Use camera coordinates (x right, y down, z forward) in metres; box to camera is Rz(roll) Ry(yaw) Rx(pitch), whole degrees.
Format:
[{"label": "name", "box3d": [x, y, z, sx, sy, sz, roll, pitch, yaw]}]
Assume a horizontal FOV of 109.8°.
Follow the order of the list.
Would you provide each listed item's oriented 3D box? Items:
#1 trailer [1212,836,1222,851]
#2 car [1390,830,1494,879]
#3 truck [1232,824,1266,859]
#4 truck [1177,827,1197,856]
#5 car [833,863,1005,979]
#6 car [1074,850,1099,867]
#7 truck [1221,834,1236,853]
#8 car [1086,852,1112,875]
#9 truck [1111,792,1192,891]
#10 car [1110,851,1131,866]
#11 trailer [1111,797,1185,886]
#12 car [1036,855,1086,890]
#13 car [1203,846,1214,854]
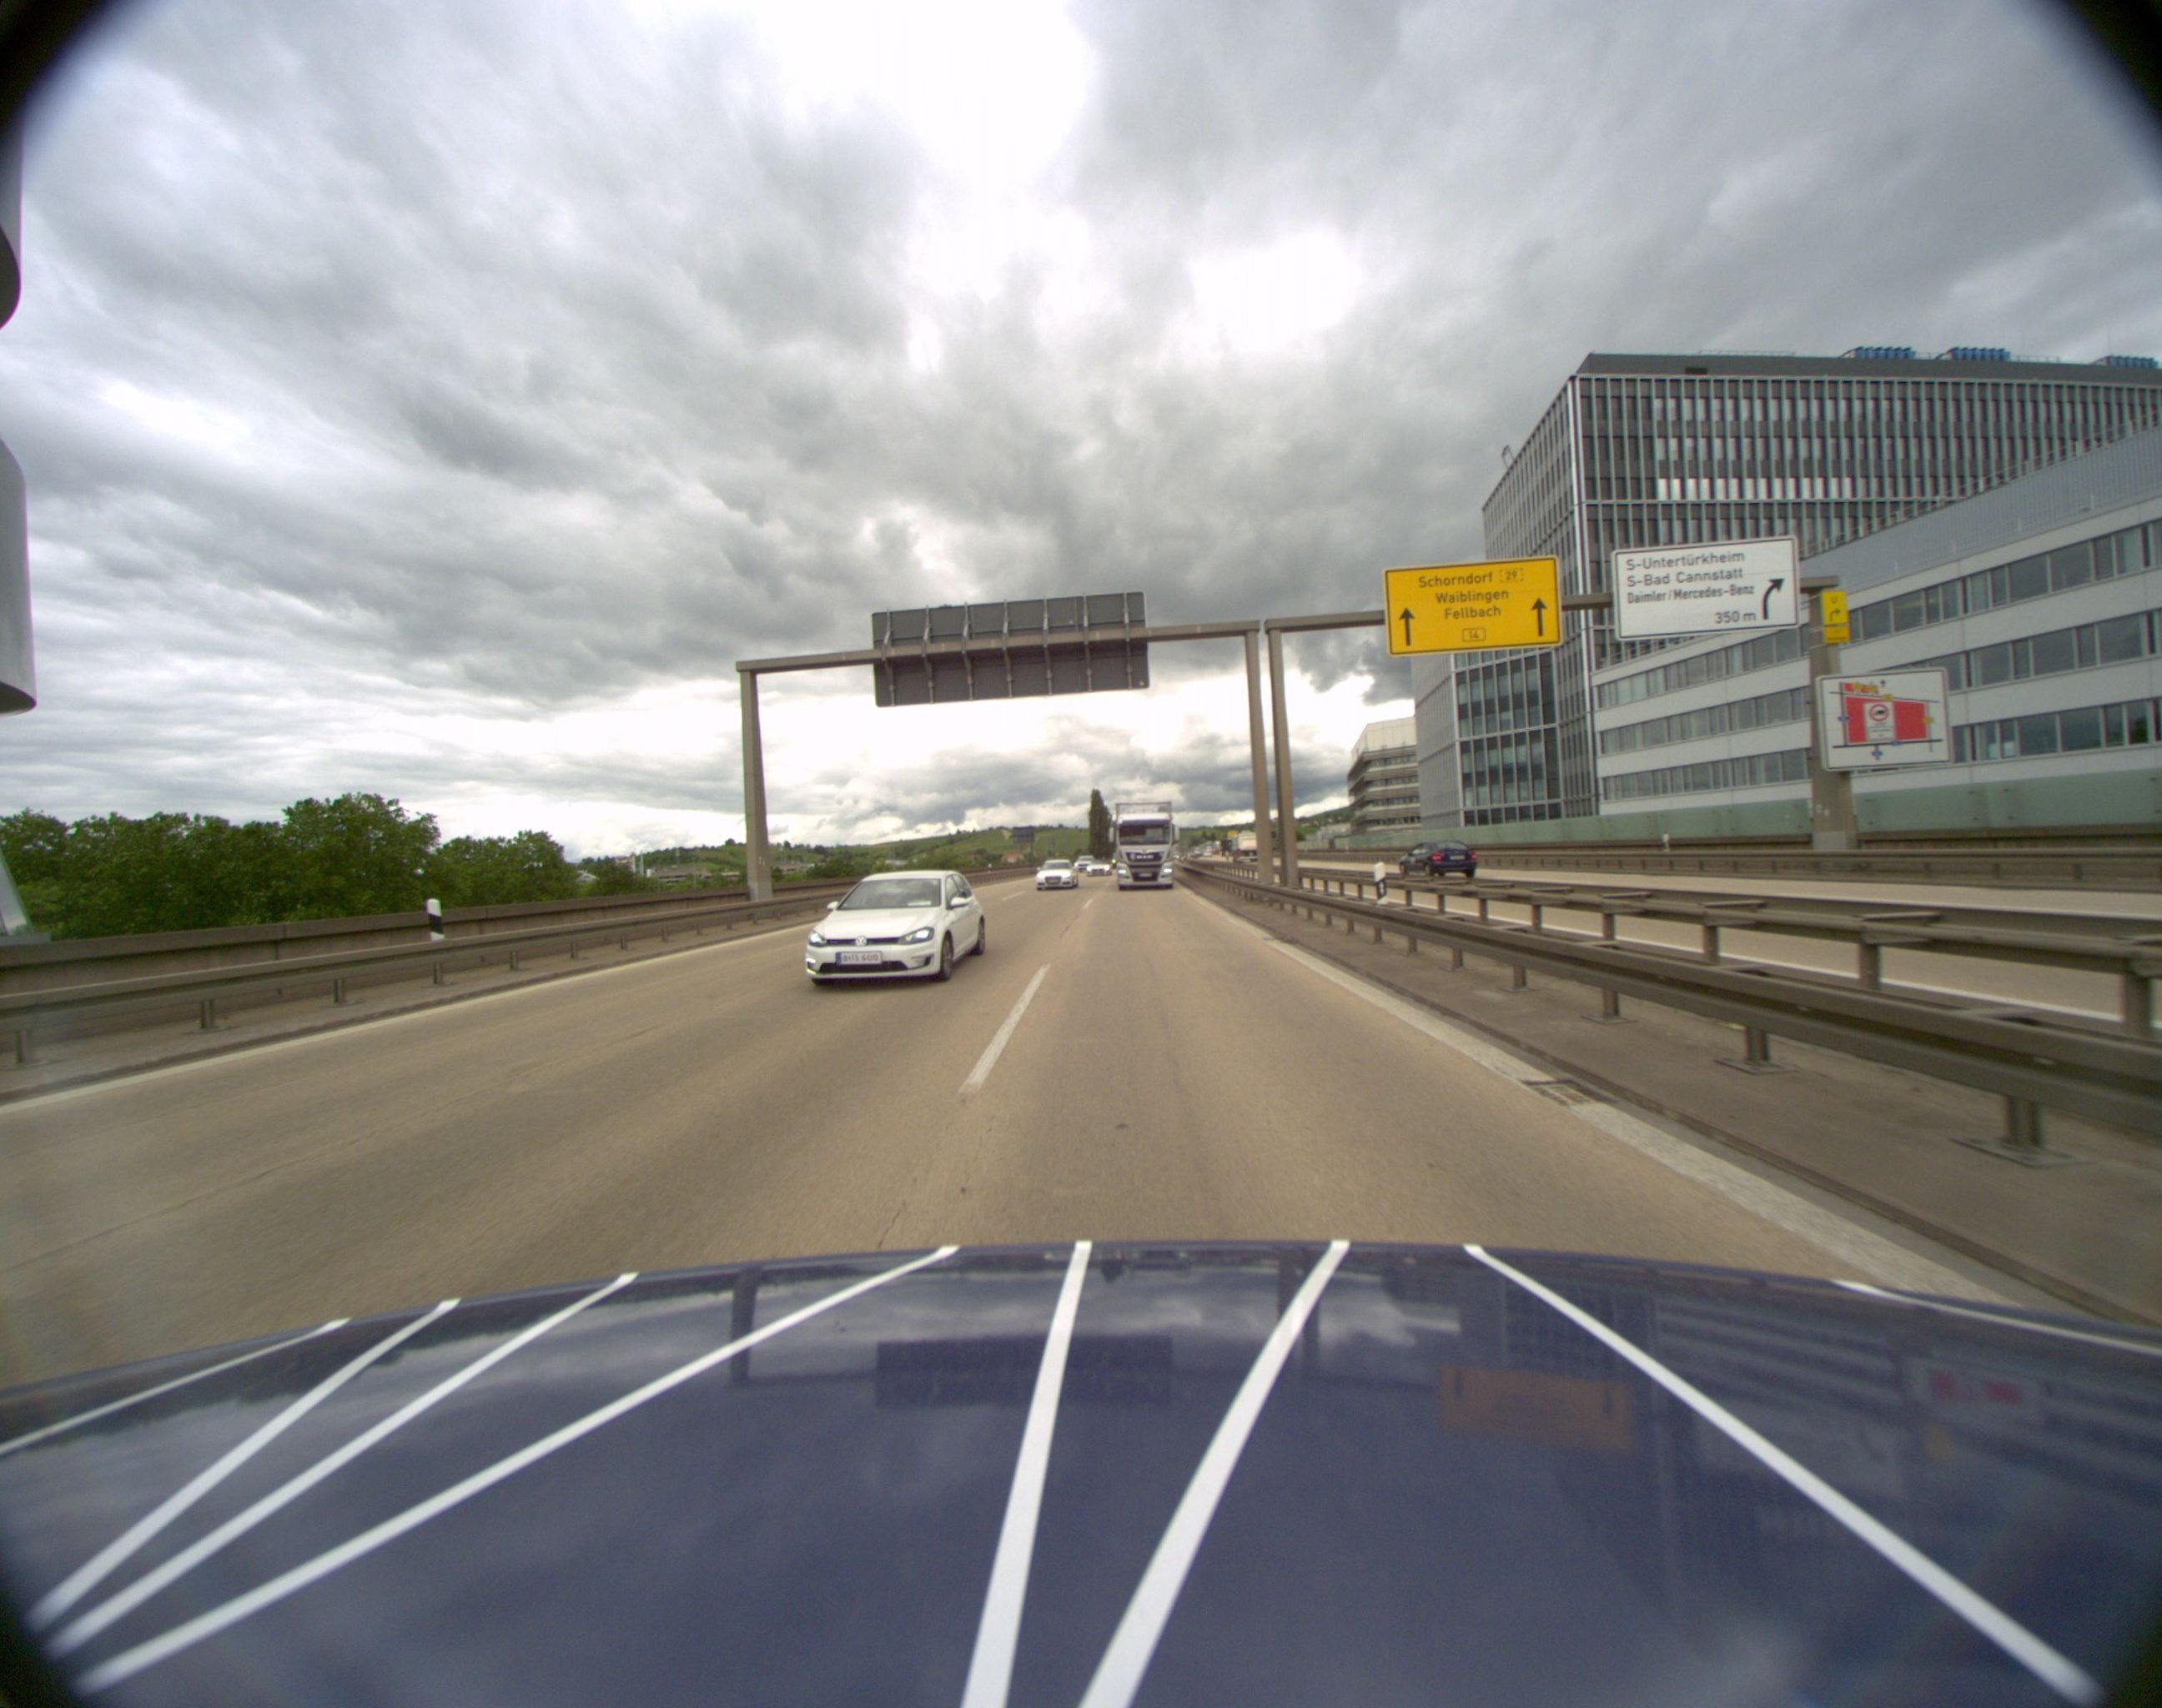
[{"label": "trailer", "box3d": [41.171, -3.369, 230.066, 2.850, 3.966, 11.887, -2, 3, 10]}, {"label": "car", "box3d": [13.824, -0.006, 29.385, 1.998, 1.665, 4.408, -2, 1, 2]}, {"label": "truck", "box3d": [19.645, -1.480, 89.283, 3.062, 3.754, 12.525, -2, 1, 9]}, {"label": "truck", "box3d": [17.634, -2.018, 127.040, 3.063, 4.536, 12.075, -2, 1, 7]}, {"label": "car", "box3d": [-2.516, 0.982, 12.899, 1.930, 1.499, 4.061, -2, 1, 1]}, {"label": "car", "box3d": [0.611, 0.432, 77.510, 1.929, 1.585, 4.063, -3, 1, 8]}, {"label": "truck", "box3d": [33.679, -2.395, 173.025, 3.062, 4.042, 8.670, -2, 1, 12]}, {"label": "car", "box3d": [1.449, 0.736, 60.339, 1.930, 1.585, 4.061, -3, 1, 3]}, {"label": "truck", "box3d": [3.148, -0.547, 34.879, 3.141, 4.014, 5.689, -4, 1, 4]}, {"label": "car", "box3d": [4.742, 0.495, 90.697, 1.929, 1.585, 4.063, -3, 1, 9]}, {"label": "trailer", "box3d": [3.499, -0.632, 41.489, 3.189, 4.003, 11.767, -4, 0, 4]}, {"label": "car", "box3d": [-0.948, 0.867, 37.727, 1.930, 1.499, 4.062, -3, 1, 5]}, {"label": "car", "box3d": [28.841, -0.942, 171.476, 1.998, 1.597, 4.808, -2, 1, 4]}]
